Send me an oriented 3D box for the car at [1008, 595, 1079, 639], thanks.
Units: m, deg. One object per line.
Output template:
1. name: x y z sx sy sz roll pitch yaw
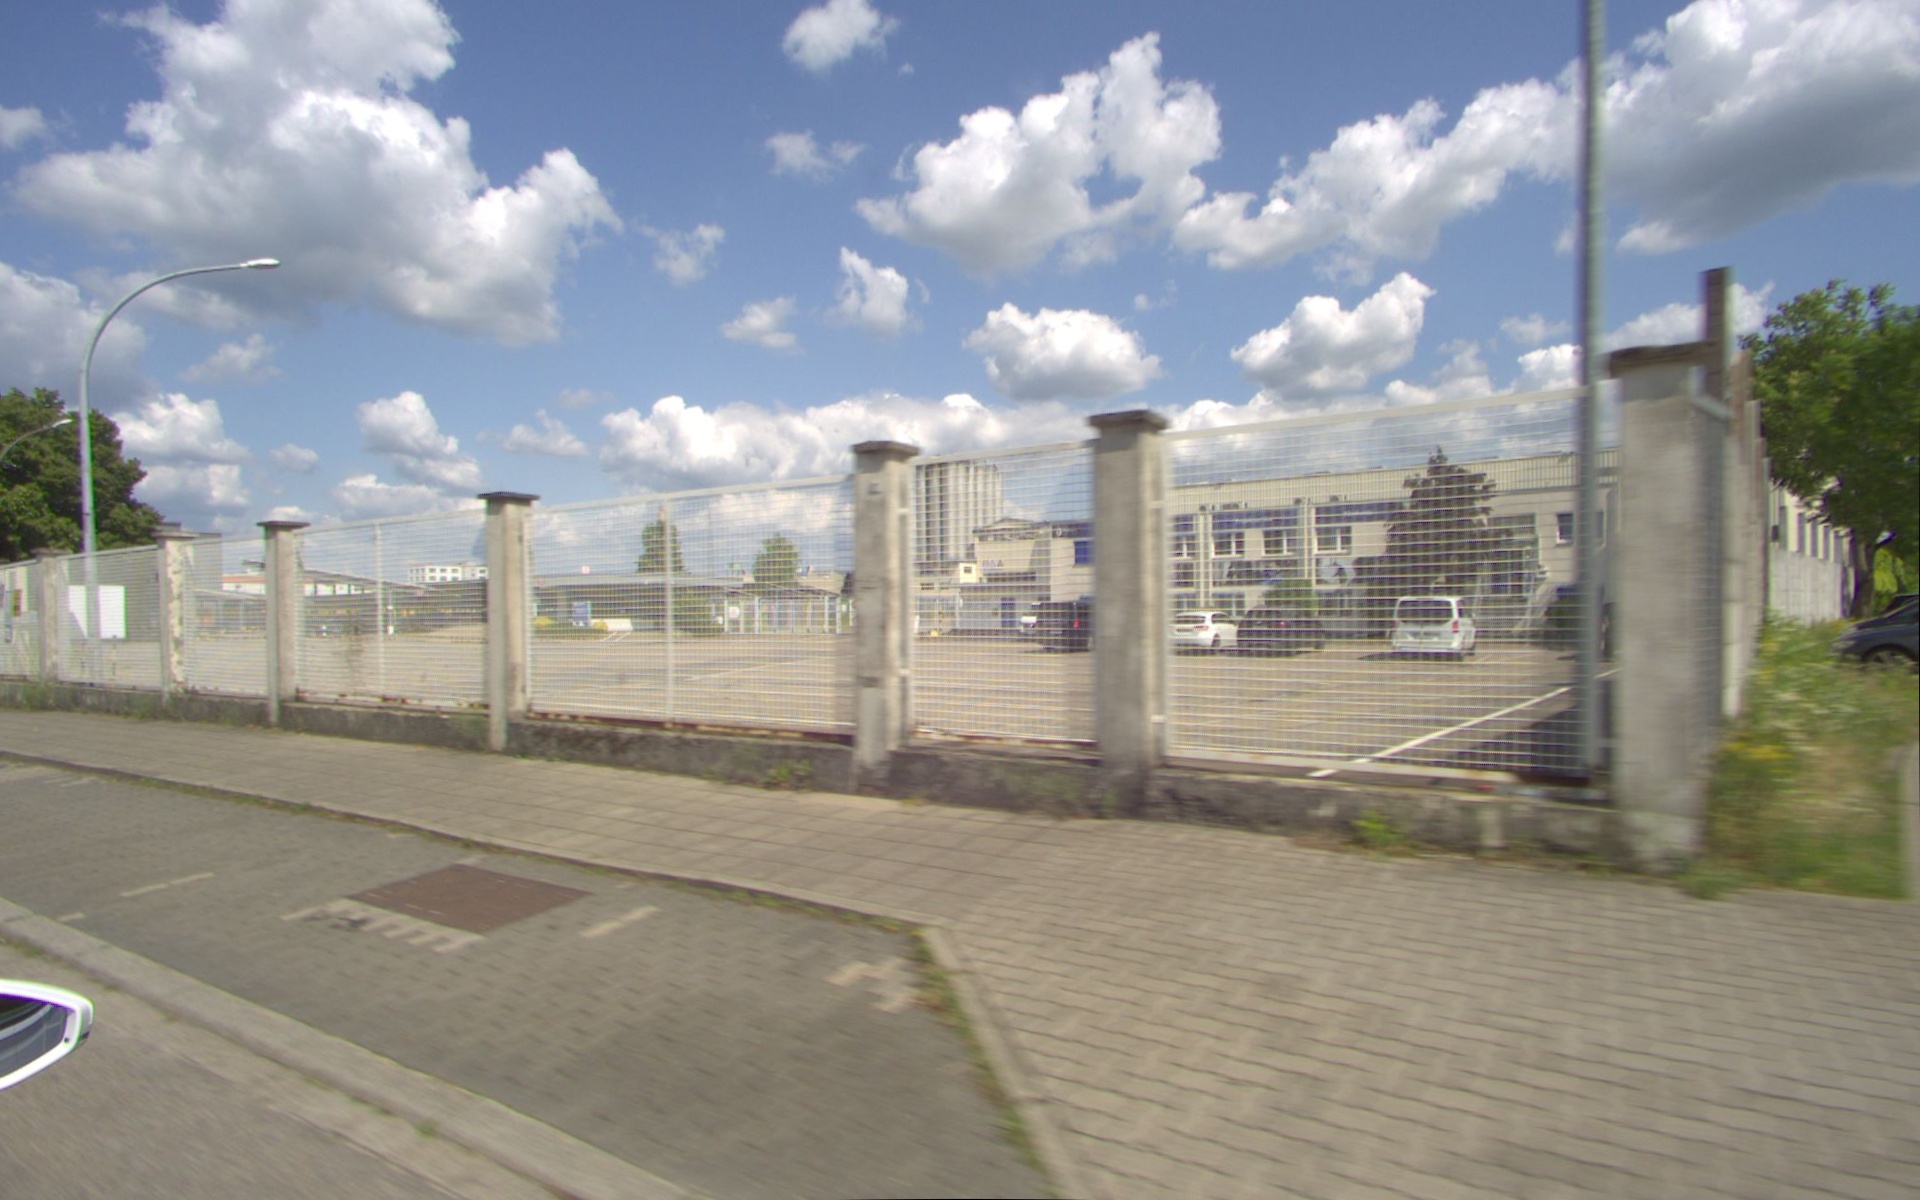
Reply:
1. car: 4.288 0.830 51.010 1.906 2.060 4.381 -1 2 30

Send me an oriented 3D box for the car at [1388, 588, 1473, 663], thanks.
1. car: 14.472 0.701 30.633 1.906 1.974 5.043 -1 2 30

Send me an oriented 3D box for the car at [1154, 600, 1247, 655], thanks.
1. car: 8.390 0.898 34.670 1.908 1.662 3.899 0 2 34

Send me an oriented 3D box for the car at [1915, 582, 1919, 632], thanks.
1. car: 31.814 0.187 30.458 1.723 1.569 3.962 -1 0 -43

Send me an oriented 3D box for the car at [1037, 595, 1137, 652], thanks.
1. car: 4.829 0.918 37.446 1.908 1.877 4.381 2 -2 34

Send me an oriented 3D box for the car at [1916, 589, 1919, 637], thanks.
1. car: 33.088 0.381 31.718 1.722 1.569 3.963 -1 0 -42

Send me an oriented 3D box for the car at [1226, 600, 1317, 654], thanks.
1. car: 10.403 0.859 33.281 1.908 1.661 3.900 0 0 34

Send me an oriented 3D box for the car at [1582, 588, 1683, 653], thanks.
1. car: 18.680 0.584 27.735 1.894 1.672 3.969 -1 -2 40

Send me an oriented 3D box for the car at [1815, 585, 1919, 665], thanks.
1. car: 19.601 0.481 19.860 3.958 1.569 1.724 -1 0 44

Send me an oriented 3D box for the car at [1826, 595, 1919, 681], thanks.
1. car: 16.385 0.604 15.724 4.147 1.352 1.626 -1 -2 44
